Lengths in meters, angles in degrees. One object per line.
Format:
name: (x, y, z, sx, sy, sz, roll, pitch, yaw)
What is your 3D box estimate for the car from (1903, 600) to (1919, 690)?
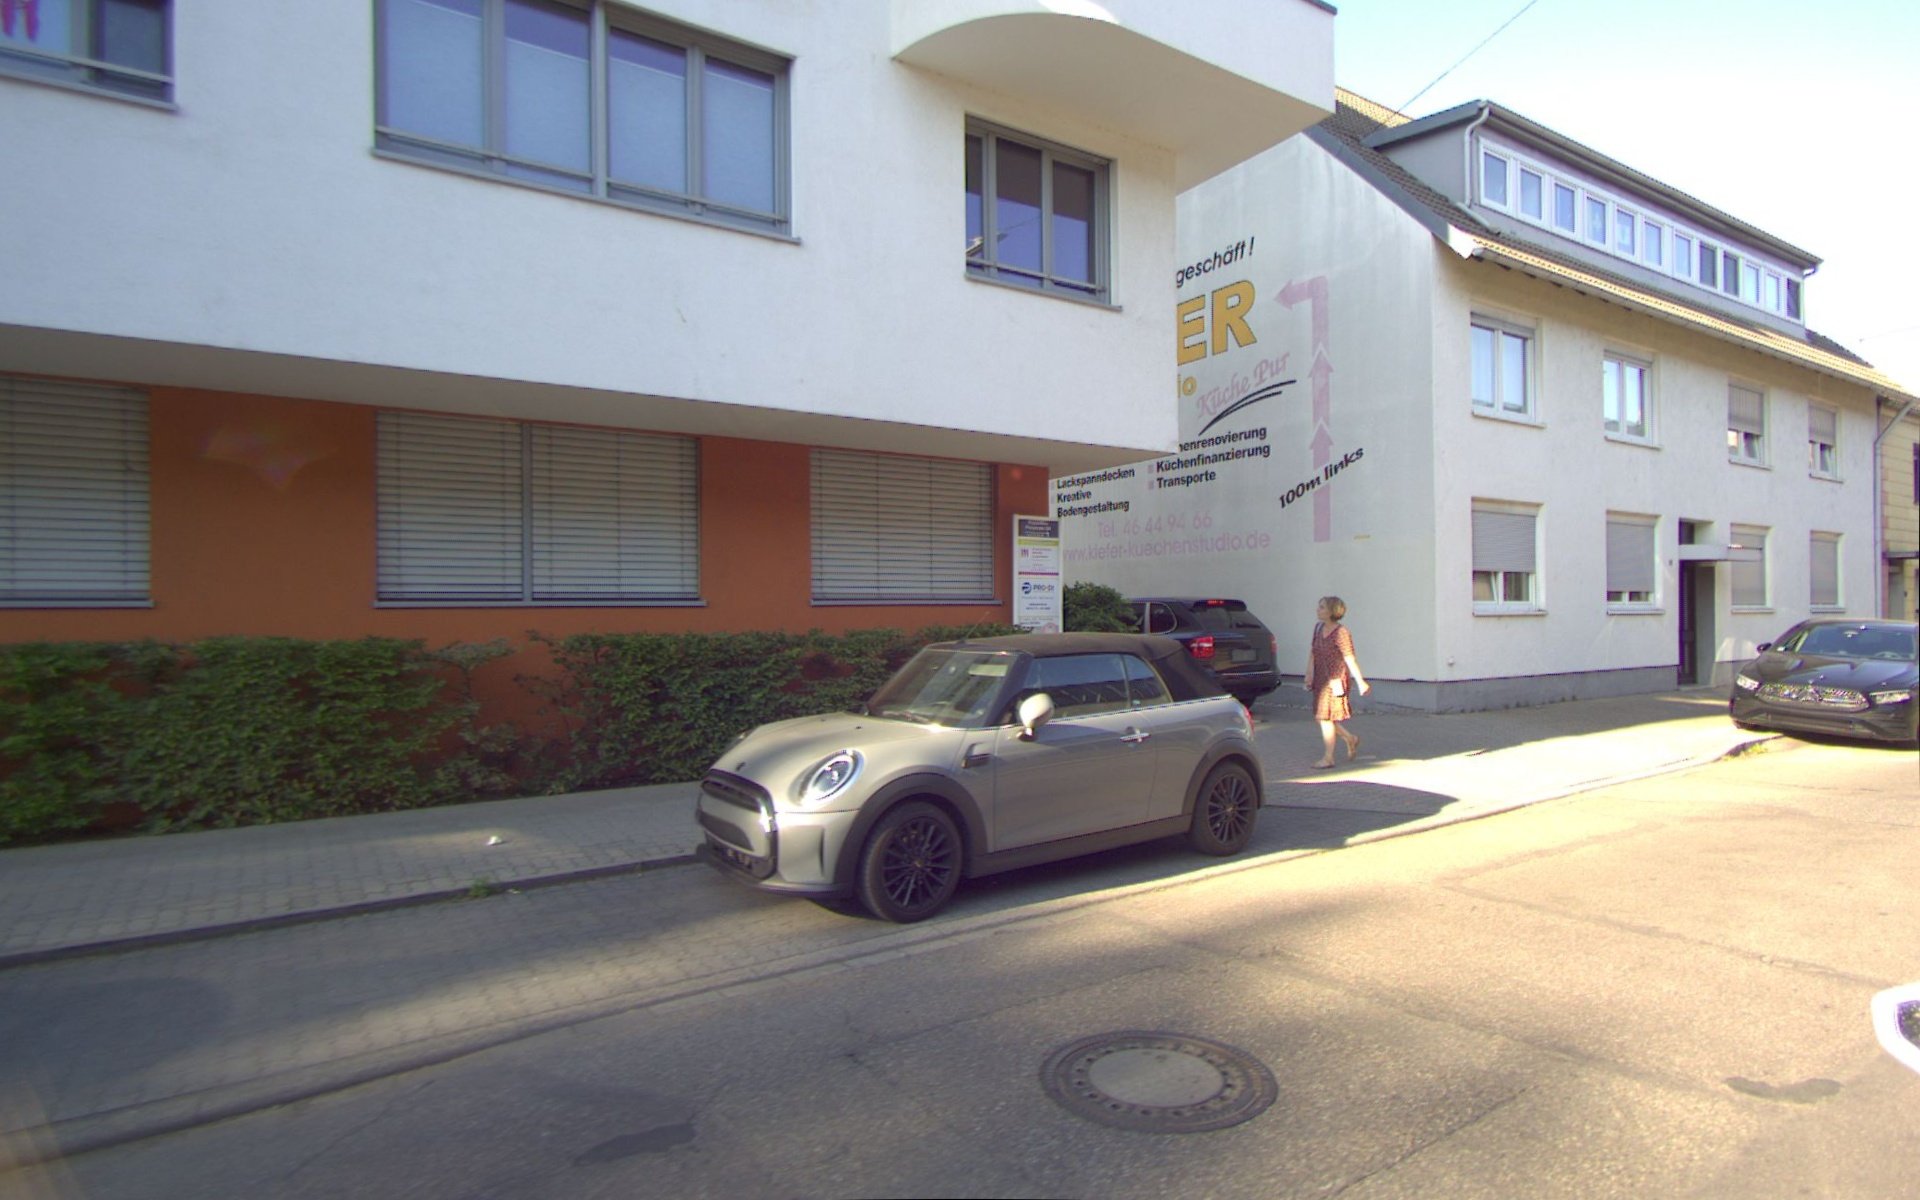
car: (19.380, 0.786, 18.634, 4.289, 1.608, 1.846, -1, 1, -34)

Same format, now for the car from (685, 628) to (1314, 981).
car: (0.386, 0.994, 6.417, 3.818, 1.556, 1.656, 0, 0, -35)

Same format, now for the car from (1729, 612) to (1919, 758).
car: (11.447, 0.932, 12.746, 4.296, 1.556, 1.671, 1, 0, -38)

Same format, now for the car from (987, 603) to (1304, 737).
car: (2.585, 1.006, 15.127, 1.994, 1.659, 4.578, -1, -2, -35)

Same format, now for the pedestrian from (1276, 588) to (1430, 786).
pedestrian: (3.854, 0.807, 9.928, 1.112, 1.843, 0.862, 0, 2, -10)
